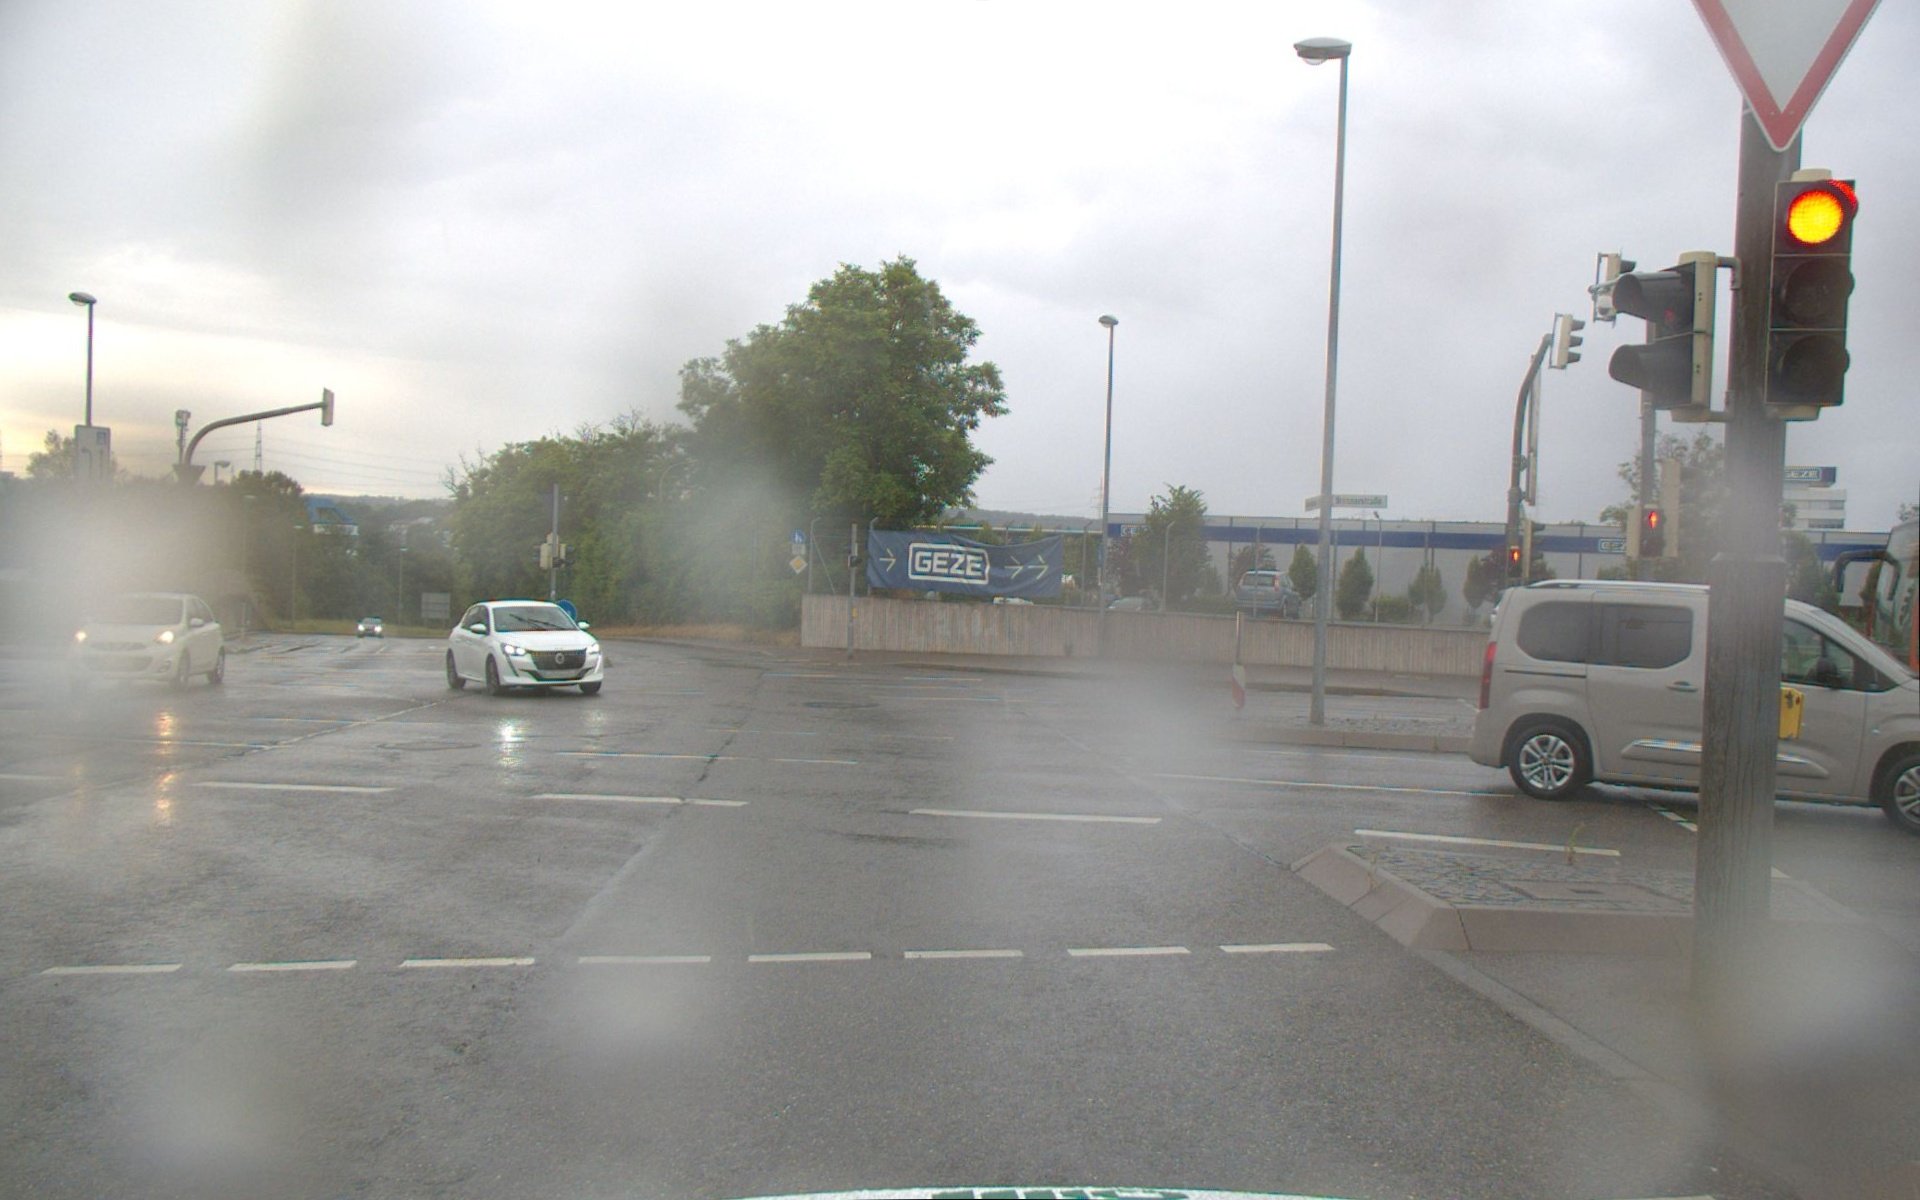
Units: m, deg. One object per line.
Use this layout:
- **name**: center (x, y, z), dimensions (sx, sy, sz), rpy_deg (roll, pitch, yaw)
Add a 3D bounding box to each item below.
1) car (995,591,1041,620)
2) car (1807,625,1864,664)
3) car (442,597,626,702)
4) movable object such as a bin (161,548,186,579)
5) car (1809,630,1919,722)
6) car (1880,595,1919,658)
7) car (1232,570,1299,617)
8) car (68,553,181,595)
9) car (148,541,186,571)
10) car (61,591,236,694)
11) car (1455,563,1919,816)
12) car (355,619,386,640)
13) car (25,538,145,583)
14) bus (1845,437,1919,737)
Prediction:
- **car**: center (3.363, 0.314, 95.928), dimensions (1.632, 1.634, 3.531), rpy_deg (1, 0, 20)
- **car**: center (39.213, 1.977, 74.140), dimensions (1.883, 1.616, 3.788), rpy_deg (2, 0, 22)
- **car**: center (-6.961, 0.748, 26.790), dimensions (1.846, 1.534, 3.939), rpy_deg (1, 0, -31)
- **movable object such as a bin**: center (-40.952, -1.894, 86.148), dimensions (1.071, 1.462, 1.434), rpy_deg (3, -2, -27)
- **car**: center (16.276, 1.260, 26.669), dimensions (4.286, 1.378, 1.827), rpy_deg (2, 0, 16)
- **car**: center (32.613, 0.898, 56.257), dimensions (1.707, 2.049, 3.824), rpy_deg (1, 0, 20)
- **car**: center (10.659, -0.208, 57.581), dimensions (1.707, 1.580, 3.531), rpy_deg (1, 0, 20)
- **car**: center (-35.622, -1.106, 70.570), dimensions (3.902, 1.614, 1.903), rpy_deg (1, -2, 12)
- **car**: center (-45.251, -2.492, 94.322), dimensions (1.806, 1.467, 3.964), rpy_deg (3, -2, -27)
- **car**: center (-13.184, 0.639, 27.102), dimensions (1.591, 1.531, 3.813), rpy_deg (0, 1, -11)
- **car**: center (6.600, 0.664, 13.804), dimensions (4.386, 1.876, 1.996), rpy_deg (1, 0, 30)
- **car**: center (-44.383, 2.178, 124.620), dimensions (1.632, 1.521, 3.988), rpy_deg (1, -1, -12)
- **car**: center (-35.839, -1.611, 67.809), dimensions (3.902, 1.614, 1.903), rpy_deg (1, -2, 8)
- **bus**: center (17.699, 0.164, 19.821), dimensions (11.995, 3.638, 2.988), rpy_deg (3, 0, 17)
